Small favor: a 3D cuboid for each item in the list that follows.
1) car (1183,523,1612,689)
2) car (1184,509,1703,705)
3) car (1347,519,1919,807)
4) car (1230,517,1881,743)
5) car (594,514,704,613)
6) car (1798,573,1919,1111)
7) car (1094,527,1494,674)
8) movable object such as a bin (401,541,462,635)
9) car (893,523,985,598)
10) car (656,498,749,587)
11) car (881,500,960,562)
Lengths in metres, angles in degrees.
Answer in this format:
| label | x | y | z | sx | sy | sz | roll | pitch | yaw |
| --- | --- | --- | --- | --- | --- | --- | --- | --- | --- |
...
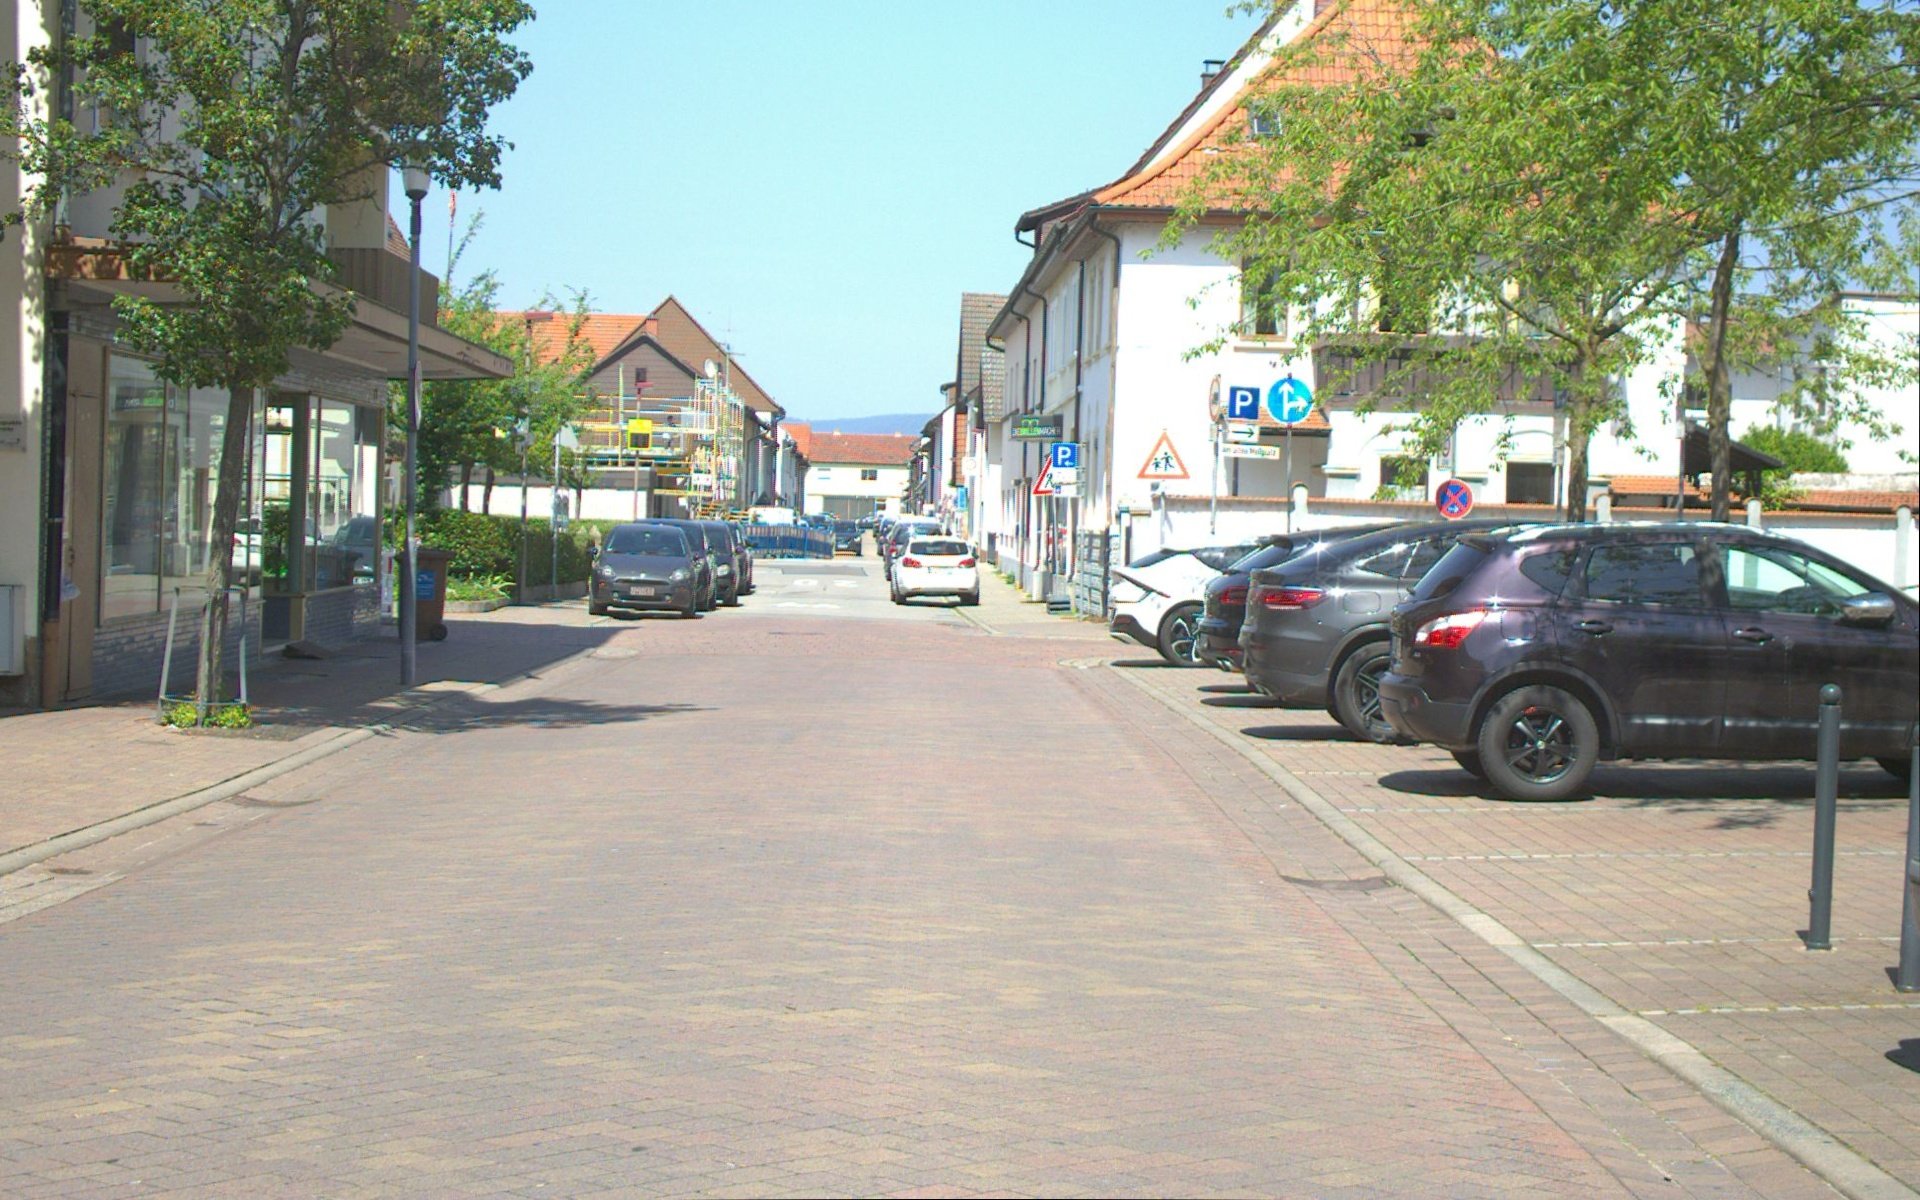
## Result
| label | x | y | z | sx | sy | sz | roll | pitch | yaw |
| --- | --- | --- | --- | --- | --- | --- | --- | --- | --- |
| car | 4.248 | 0.036 | 33.808 | 3.943 | 1.528 | 1.824 | -1 | 2 | -1 |
| car | 4.241 | 0.035 | 30.669 | 4.278 | 1.675 | 2.001 | 0 | 2 | -2 |
| car | 4.402 | 0.340 | 20.387 | 4.027 | 1.606 | 1.681 | -1 | 1 | 1 |
| car | 4.294 | 0.190 | 25.341 | 4.508 | 1.583 | 1.850 | 0 | 2 | 2 |
| car | -5.057 | -0.617 | 56.052 | 1.702 | 1.491 | 3.858 | 1 | 2 | -5 |
| car | 4.795 | 0.678 | 9.878 | 4.371 | 1.458 | 1.891 | 0 | 2 | -24 |
| car | 3.915 | -0.007 | 40.736 | 4.439 | 1.570 | 1.789 | 2 | 2 | -3 |
| movable object such as a bin | -6.205 | -0.146 | 40.376 | 0.655 | 1.066 | 0.664 | 2 | 1 | -7 |
| car | -0.428 | -0.873 | 74.718 | 1.886 | 1.536 | 4.243 | 1 | 1 | 1 |
| car | -5.034 | -1.152 | 67.570 | 1.637 | 1.623 | 3.769 | 1 | 2 | -2 |
| car | -1.107 | -1.917 | 94.427 | 1.884 | 1.550 | 3.895 | -2 | 2 | -4 |
